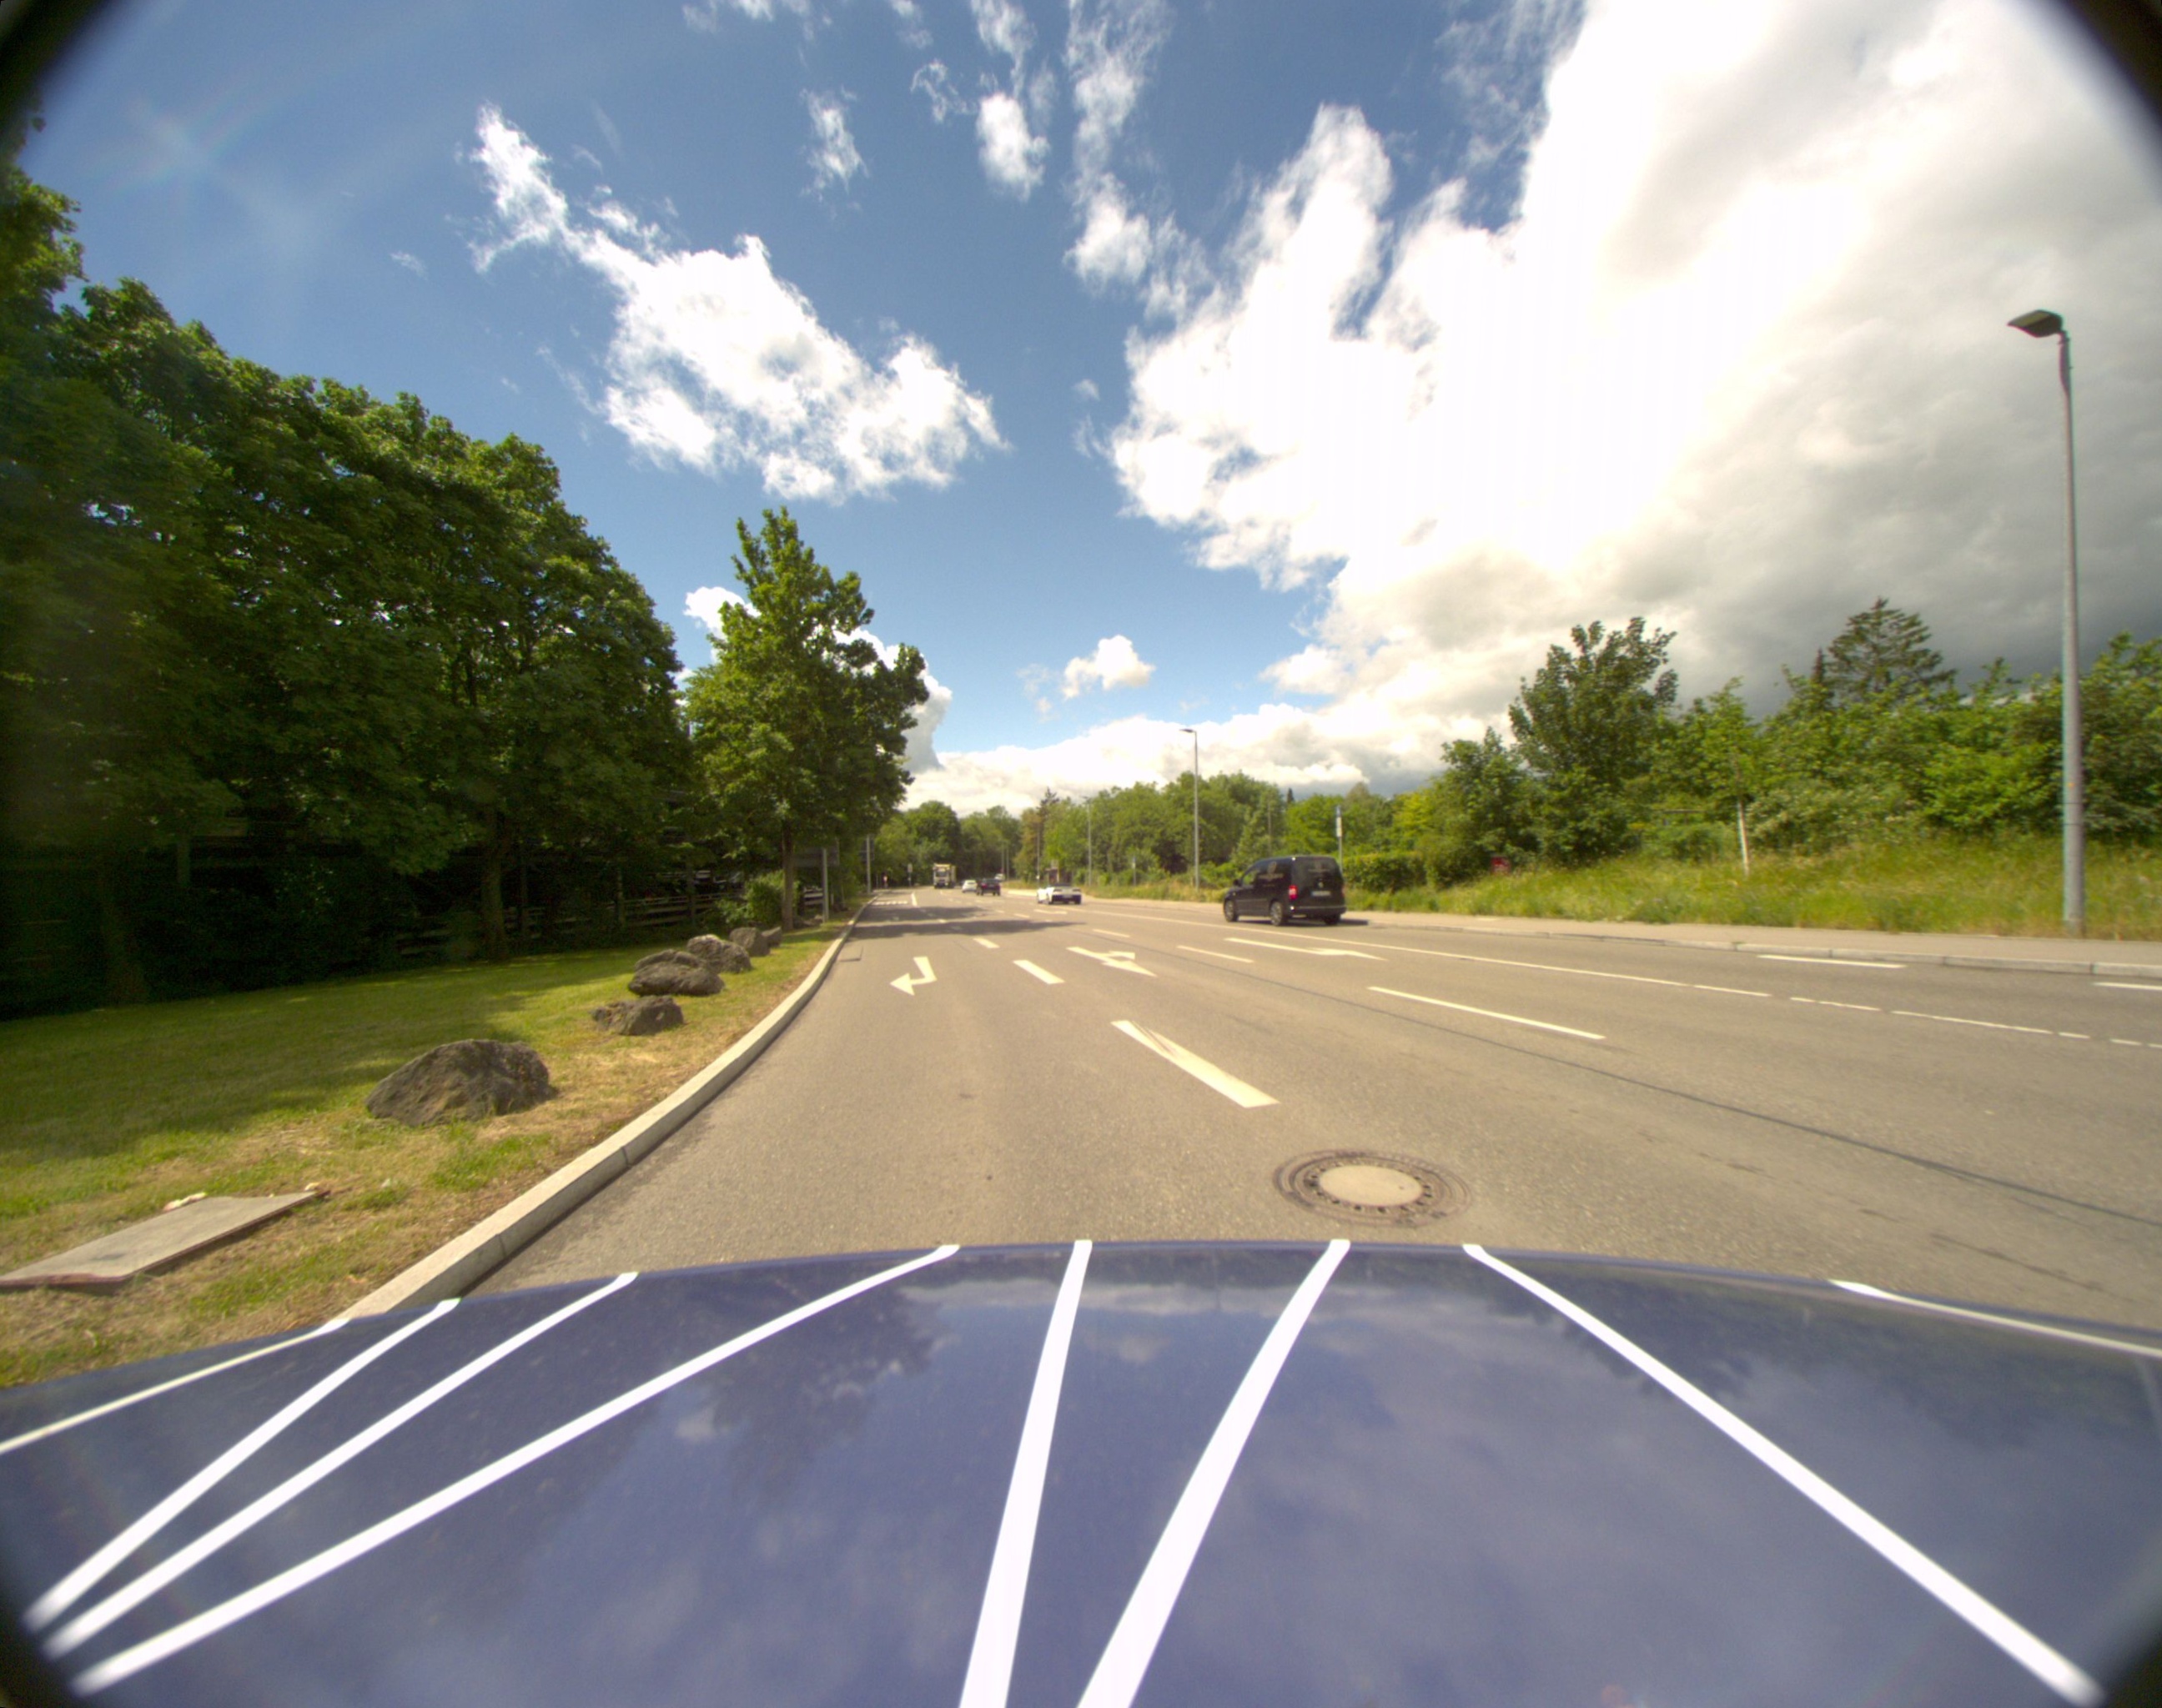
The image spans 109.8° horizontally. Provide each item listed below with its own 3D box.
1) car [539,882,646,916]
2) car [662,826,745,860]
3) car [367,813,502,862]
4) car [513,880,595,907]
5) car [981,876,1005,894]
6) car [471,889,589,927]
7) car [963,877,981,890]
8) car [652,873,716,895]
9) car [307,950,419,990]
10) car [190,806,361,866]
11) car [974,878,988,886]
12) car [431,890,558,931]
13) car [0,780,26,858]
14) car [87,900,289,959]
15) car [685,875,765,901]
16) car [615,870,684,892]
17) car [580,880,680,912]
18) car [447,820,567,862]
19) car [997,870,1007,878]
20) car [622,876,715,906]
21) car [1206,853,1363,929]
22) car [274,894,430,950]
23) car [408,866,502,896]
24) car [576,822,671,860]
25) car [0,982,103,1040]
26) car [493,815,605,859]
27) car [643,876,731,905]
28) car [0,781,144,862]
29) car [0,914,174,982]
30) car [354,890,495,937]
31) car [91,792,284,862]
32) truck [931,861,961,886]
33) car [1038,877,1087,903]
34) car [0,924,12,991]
[{"bbox_3d":[-21.822,2.003,34.004,3.851,1.384,1.697,-2,0,10],"label":"car"},{"bbox_3d":[-20.199,-0.584,40.675,3.697,1.609,1.661,-2,-2,11],"label":"car"},{"bbox_3d":[-23.012,-0.557,27.112,3.697,1.532,1.729,-2,-2,11],"label":"car"},{"bbox_3d":[-30.813,2.302,44.473,3.851,1.477,1.697,0,0,10],"label":"car"},{"bbox_3d":[-8.541,2.935,73.386,1.828,1.644,4.528,0,-1,-14],"label":"car"},{"bbox_3d":[-22.576,2.210,31.196,3.851,1.384,1.697,-2,0,10],"label":"car"},{"bbox_3d":[-13.040,3.536,90.812,1.773,1.433,3.895,0,-1,-15],"label":"car"},{"bbox_3d":[-29.308,2.221,56.080,3.928,1.542,1.771,0,0,11],"label":"car"},{"bbox_3d":[-32.159,5.168,34.056,3.851,1.438,1.697,0,0,10],"label":"car"},{"bbox_3d":[-23.533,-0.476,22.253,3.697,1.532,1.729,-2,-2,11],"label":"car"},{"bbox_3d":[-18.359,5.170,139.414,1.827,1.548,4.631,0,-2,2],"label":"car"},{"bbox_3d":[-22.469,2.158,29.154,3.851,1.384,1.697,-2,0,10],"label":"car"},{"bbox_3d":[-24.610,-0.721,15.792,3.697,1.609,1.729,-2,-2,11],"label":"car"},{"bbox_3d":[-23.885,2.000,20.381,3.851,1.384,1.778,-2,0,10],"label":"car"},{"bbox_3d":[-20.356,1.944,43.473,3.851,1.384,1.697,-2,0,10],"label":"car"},{"bbox_3d":[-29.150,1.783,51.386,3.851,1.434,1.755,0,0,10],"label":"car"},{"bbox_3d":[-21.296,1.980,35.939,3.851,1.384,1.697,-2,0,10],"label":"car"},{"bbox_3d":[-22.165,-0.469,29.388,3.697,1.422,1.661,-2,-2,11],"label":"car"},{"bbox_3d":[-19.572,4.977,189.068,1.842,1.783,3.903,-4,0,2],"label":"car"},{"bbox_3d":[-20.658,1.845,38.128,3.851,1.384,1.697,-2,0,10],"label":"car"},{"bbox_3d":[5.371,1.015,20.849,1.792,1.767,4.806,-2,-2,-17],"label":"car"},{"bbox_3d":[-23.676,2.194,24.726,3.851,1.616,1.697,-2,0,10],"label":"car"},{"bbox_3d":[-32.700,1.390,39.715,3.851,1.477,1.697,0,0,10],"label":"car"},{"bbox_3d":[-21.793,-0.586,36.240,3.697,1.609,1.661,-2,-2,11],"label":"car"},{"bbox_3d":[-34.537,5.091,24.802,3.777,1.438,1.641,0,0,10],"label":"car"},{"bbox_3d":[-21.782,-0.667,31.153,3.697,1.553,1.661,-2,-2,11],"label":"car"},{"bbox_3d":[-20.891,1.932,40.313,3.851,1.384,1.697,-2,0,10],"label":"car"},{"bbox_3d":[-24.502,-0.692,17.749,3.697,1.609,1.729,-2,-2,11],"label":"car"},{"bbox_3d":[-24.447,2.236,18.222,3.792,1.384,1.778,-2,0,10],"label":"car"},{"bbox_3d":[-23.138,2.096,26.833,3.851,1.481,1.697,-2,0,10],"label":"car"},{"bbox_3d":[-23.870,-0.666,20.355,3.697,1.609,1.729,-2,-2,11],"label":"car"},{"bbox_3d":[-21.802,3.152,123.509,3.241,3.837,9.873,0,0,-1],"label":"truck"},{"bbox_3d":[-1.116,2.021,43.467,1.911,1.283,4.604,-1,-1,-13],"label":"car"},{"bbox_3d":[-24.562,2.217,15.469,3.792,1.384,1.778,-2,0,10],"label":"car"}]
